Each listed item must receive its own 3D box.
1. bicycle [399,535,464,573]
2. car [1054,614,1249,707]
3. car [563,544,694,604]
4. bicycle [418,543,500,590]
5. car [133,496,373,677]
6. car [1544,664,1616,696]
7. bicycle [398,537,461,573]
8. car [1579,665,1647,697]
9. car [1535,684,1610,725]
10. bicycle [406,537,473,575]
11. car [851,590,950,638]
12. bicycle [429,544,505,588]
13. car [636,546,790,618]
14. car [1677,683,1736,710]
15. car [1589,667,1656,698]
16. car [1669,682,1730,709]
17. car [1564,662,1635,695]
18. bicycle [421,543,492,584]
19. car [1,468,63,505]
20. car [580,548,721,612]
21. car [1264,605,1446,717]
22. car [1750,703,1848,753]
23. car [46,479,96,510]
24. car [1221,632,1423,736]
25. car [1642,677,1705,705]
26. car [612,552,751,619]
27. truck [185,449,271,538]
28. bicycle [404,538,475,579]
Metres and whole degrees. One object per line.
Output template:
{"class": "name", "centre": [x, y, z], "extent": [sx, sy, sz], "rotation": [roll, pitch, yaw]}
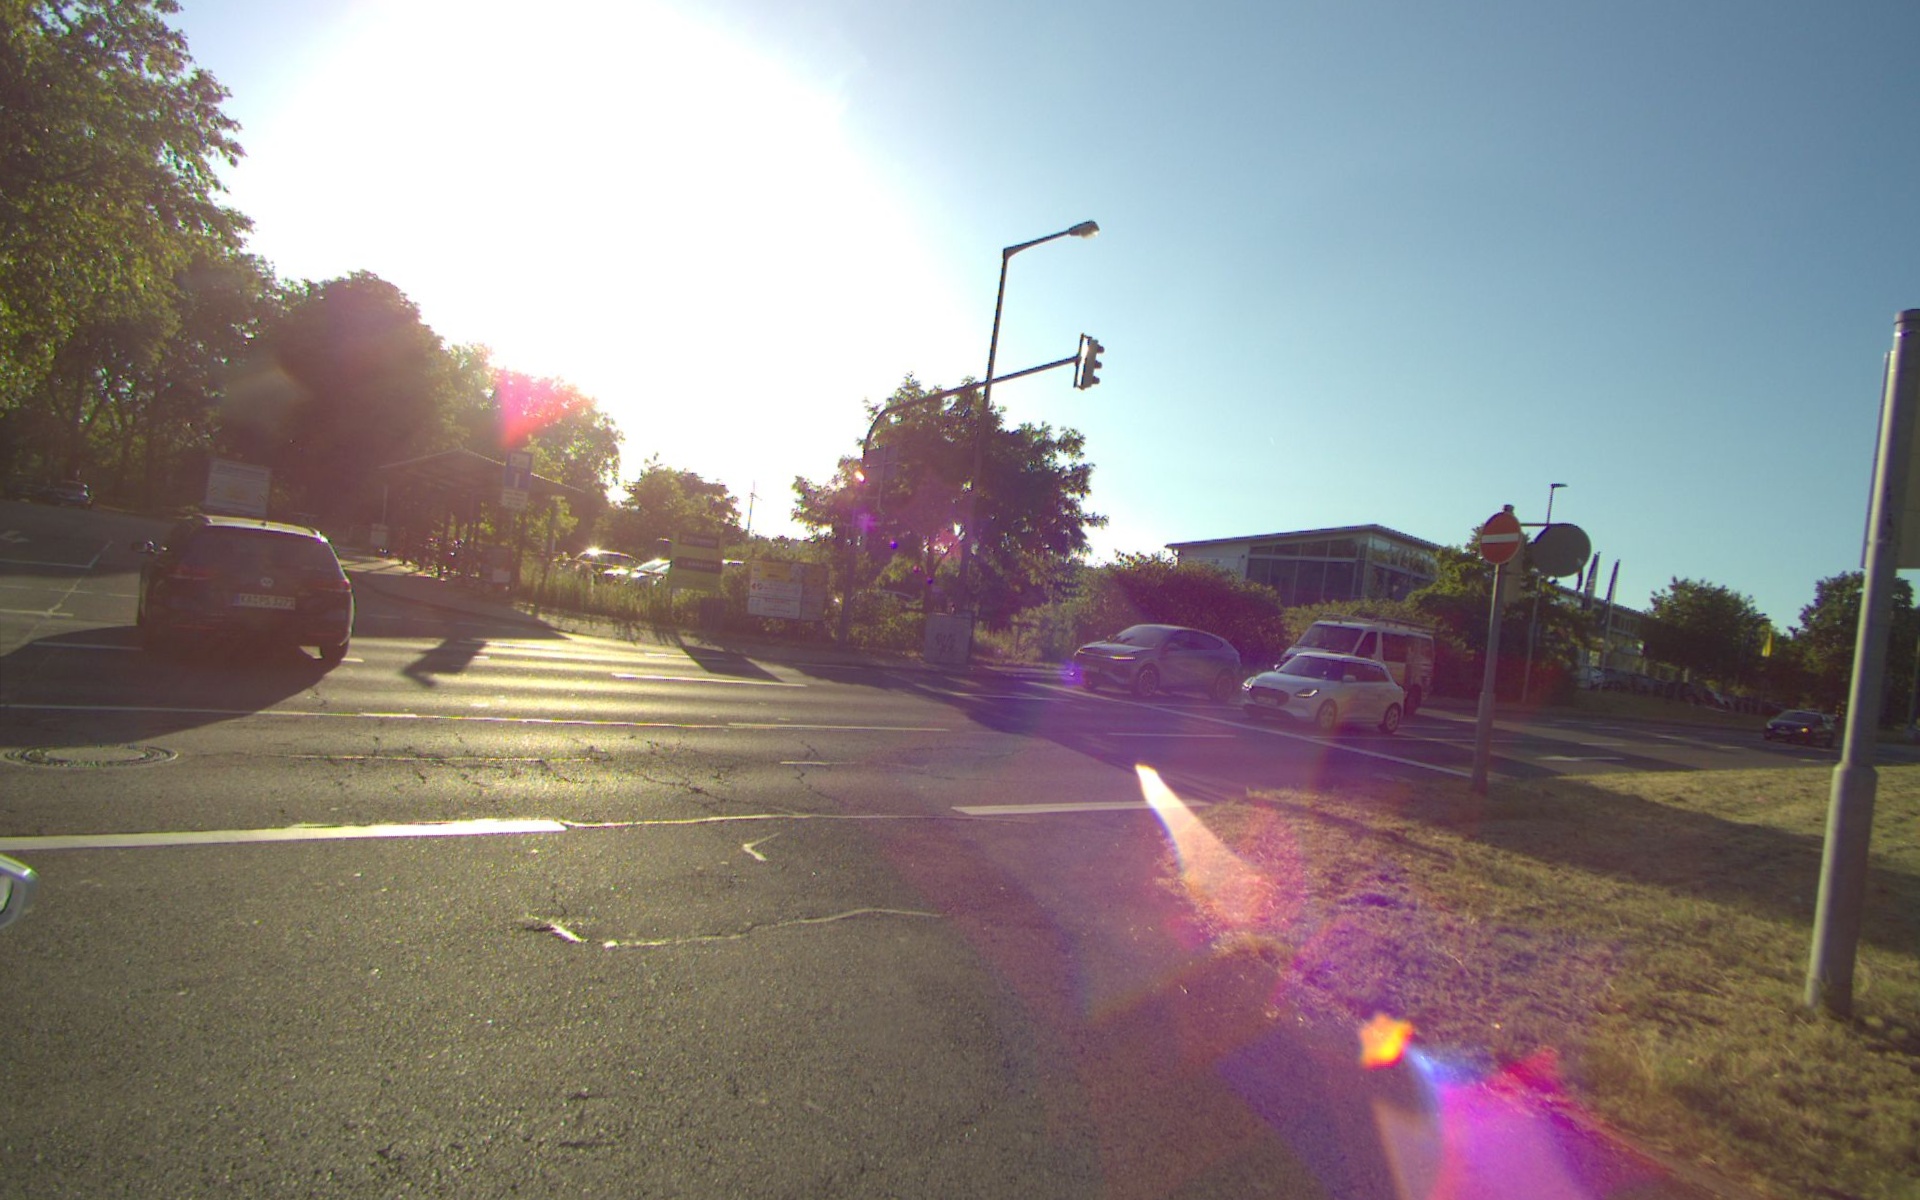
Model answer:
{"class": "bicycle", "centre": [-18.310, -1.579, 34.851], "extent": [1.876, 1.051, 0.539], "rotation": [7, 1, -35]}
{"class": "car", "centre": [4.527, 1.443, 23.415], "extent": [4.513, 1.638, 1.855], "rotation": [8, 0, -40]}
{"class": "car", "centre": [-12.904, -0.990, 39.245], "extent": [4.289, 1.669, 2.096], "rotation": [8, 0, -40]}
{"class": "bicycle", "centre": [-13.714, -0.904, 27.558], "extent": [1.878, 1.051, 0.538], "rotation": [7, 1, -38]}
{"class": "car", "centre": [-8.219, -0.248, 11.578], "extent": [1.816, 1.575, 4.211], "rotation": [7, 0, -39]}
{"class": "car", "centre": [39.729, 5.124, 64.528], "extent": [3.737, 1.405, 1.755], "rotation": [8, 0, 33]}
{"class": "bicycle", "centre": [-19.025, -1.607, 36.125], "extent": [1.876, 1.051, 0.539], "rotation": [7, 1, -35]}
{"class": "car", "centre": [44.810, 5.549, 69.129], "extent": [3.737, 1.586, 1.755], "rotation": [8, 1, 33]}
{"class": "car", "centre": [37.932, 6.424, 62.321], "extent": [3.737, 1.883, 1.755], "rotation": [8, 1, 33]}
{"class": "bicycle", "centre": [-17.603, -1.484, 34.050], "extent": [1.876, 1.051, 0.539], "rotation": [7, 1, -35]}
{"class": "car", "centre": [-2.769, 0.651, 46.950], "extent": [3.957, 1.657, 2.104], "rotation": [8, 0, -30]}
{"class": "bicycle", "centre": [-14.742, -1.011, 30.098], "extent": [1.878, 1.051, 0.538], "rotation": [7, 1, -38]}
{"class": "car", "centre": [-7.916, -0.560, 32.346], "extent": [4.196, 1.669, 2.096], "rotation": [8, 0, -40]}
{"class": "car", "centre": [62.676, 8.077, 84.530], "extent": [3.737, 1.586, 1.755], "rotation": [8, 1, 33]}
{"class": "car", "centre": [46.692, 5.816, 71.002], "extent": [3.737, 1.586, 1.755], "rotation": [8, 1, 33]}
{"class": "car", "centre": [60.696, 7.796, 82.592], "extent": [3.737, 1.586, 1.755], "rotation": [8, 1, 33]}
{"class": "car", "centre": [42.267, 5.189, 66.581], "extent": [3.737, 1.586, 1.755], "rotation": [8, 1, 33]}
{"class": "bicycle", "centre": [-16.044, -1.163, 32.059], "extent": [1.878, 1.051, 0.538], "rotation": [7, 1, -38]}
{"class": "car", "centre": [-48.258, -5.870, 52.372], "extent": [1.836, 1.571, 3.959], "rotation": [7, 0, -37]}
{"class": "car", "centre": [-11.178, -0.720, 36.437], "extent": [4.289, 1.669, 2.096], "rotation": [8, 0, -40]}
{"class": "car", "centre": [11.461, 1.815, 28.949], "extent": [5.829, 2.597, 1.988], "rotation": [8, 1, -39]}
{"class": "car", "centre": [36.806, 5.608, 44.133], "extent": [3.954, 1.705, 1.801], "rotation": [7, 0, -28]}
{"class": "car", "centre": [-54.794, -6.507, 62.051], "extent": [1.836, 1.571, 3.959], "rotation": [7, 0, -37]}
{"class": "car", "centre": [7.416, 1.735, 20.481], "extent": [3.966, 1.638, 1.857], "rotation": [8, 0, -37]}
{"class": "car", "centre": [55.873, 7.115, 78.878], "extent": [3.737, 1.586, 1.755], "rotation": [8, 1, 33]}
{"class": "car", "centre": [-9.546, -0.482, 34.622], "extent": [3.971, 1.669, 2.096], "rotation": [8, 0, -40]}
{"class": "truck", "centre": [-39.747, -5.741, 54.840], "extent": [3.166, 3.924, 10.989], "rotation": [7, 1, -35]}
{"class": "bicycle", "centre": [-16.746, -1.335, 32.397], "extent": [1.878, 1.051, 0.538], "rotation": [7, 1, -38]}
